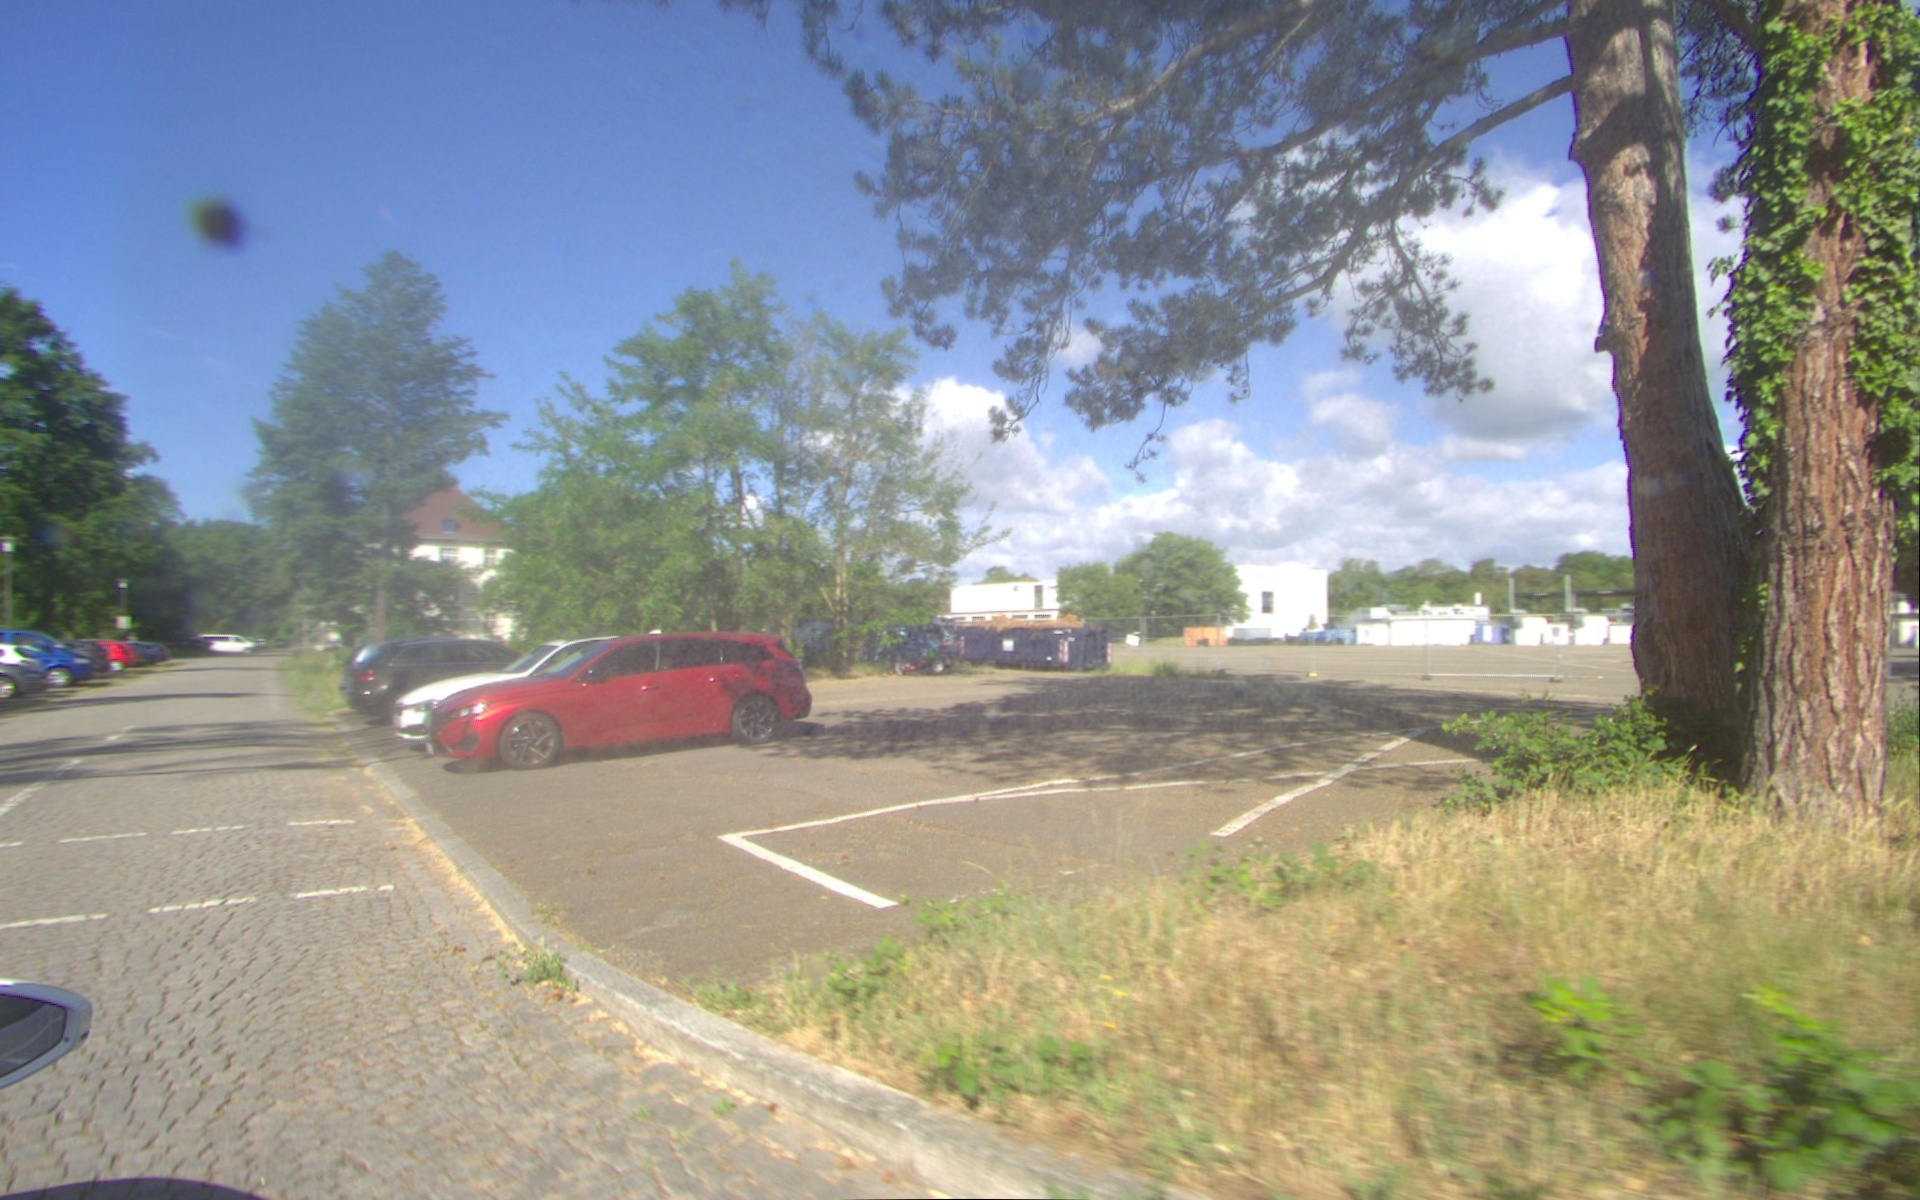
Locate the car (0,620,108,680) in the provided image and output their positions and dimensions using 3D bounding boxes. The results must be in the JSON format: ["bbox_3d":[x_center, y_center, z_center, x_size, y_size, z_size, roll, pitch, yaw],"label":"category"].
[{"bbox_3d":[-31.977,1.679,33.761,4.675,1.992,1.992,3,-3,-35],"label":"car"}]

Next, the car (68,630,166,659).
[{"bbox_3d":[-48.667,2.585,57.923,4.097,1.599,1.872,2,-2,-35],"label":"car"}]

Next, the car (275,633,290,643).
[{"bbox_3d":[-109.040,6.127,161.056,1.952,1.689,4.059,0,-2,-35],"label":"car"}]

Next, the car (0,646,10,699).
[{"bbox_3d":[-24.147,1.647,22.619,3.596,1.249,1.749,3,-4,-34],"label":"car"}]

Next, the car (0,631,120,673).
[{"bbox_3d":[-37.099,2.147,41.034,3.920,1.587,1.959,3,-2,-37],"label":"car"}]

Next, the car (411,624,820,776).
[{"bbox_3d":[-4.211,1.110,12.586,4.494,1.440,1.881,-2,-1,-36],"label":"car"}]

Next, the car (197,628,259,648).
[{"bbox_3d":[-75.818,3.907,103.827,5.187,2.041,1.937,2,-2,-36],"label":"car"}]

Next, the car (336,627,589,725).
[{"bbox_3d":[-9.271,1.333,18.790,3.967,1.460,1.831,-2,0,-37],"label":"car"}]

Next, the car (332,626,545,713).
[{"bbox_3d":[-10.886,1.385,20.985,3.706,1.496,1.739,-2,0,-37],"label":"car"}]

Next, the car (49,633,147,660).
[{"bbox_3d":[-47.786,2.577,55.629,3.885,1.451,1.830,2,-2,-34],"label":"car"}]

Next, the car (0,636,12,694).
[{"bbox_3d":[-26.146,1.581,24.453,4.038,1.470,1.811,3,-4,-34],"label":"car"}]

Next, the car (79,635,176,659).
[{"bbox_3d":[-51.270,2.898,61.777,4.315,1.463,1.910,2,-2,-32],"label":"car"}]

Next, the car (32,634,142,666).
[{"bbox_3d":[-42.988,2.477,49.434,3.889,1.479,1.829,3,-2,-37],"label":"car"}]

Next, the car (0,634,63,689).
[{"bbox_3d":[-27.255,1.645,27.182,4.038,1.443,1.911,3,-3,-34],"label":"car"}]

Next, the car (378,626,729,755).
[{"bbox_3d":[-5.895,1.214,14.816,4.473,1.484,1.825,-2,-1,-38],"label":"car"}]

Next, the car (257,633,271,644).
[{"bbox_3d":[-110.813,6.136,159.430,1.795,1.599,4.107,0,-2,-35],"label":"car"}]

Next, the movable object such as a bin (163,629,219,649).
[{"bbox_3d":[-70.437,3.592,91.754,3.514,1.767,2.022,0,-1,-17],"label":"movable object such as a bin"}]

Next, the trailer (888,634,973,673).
[{"bbox_3d":[-0.847,1.577,29.573,2.380,1.119,1.028,3,-3,-39],"label":"trailer"}]

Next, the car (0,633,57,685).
[{"bbox_3d":[-29.317,1.703,29.227,4.158,1.493,1.812,3,-3,-35],"label":"car"}]
